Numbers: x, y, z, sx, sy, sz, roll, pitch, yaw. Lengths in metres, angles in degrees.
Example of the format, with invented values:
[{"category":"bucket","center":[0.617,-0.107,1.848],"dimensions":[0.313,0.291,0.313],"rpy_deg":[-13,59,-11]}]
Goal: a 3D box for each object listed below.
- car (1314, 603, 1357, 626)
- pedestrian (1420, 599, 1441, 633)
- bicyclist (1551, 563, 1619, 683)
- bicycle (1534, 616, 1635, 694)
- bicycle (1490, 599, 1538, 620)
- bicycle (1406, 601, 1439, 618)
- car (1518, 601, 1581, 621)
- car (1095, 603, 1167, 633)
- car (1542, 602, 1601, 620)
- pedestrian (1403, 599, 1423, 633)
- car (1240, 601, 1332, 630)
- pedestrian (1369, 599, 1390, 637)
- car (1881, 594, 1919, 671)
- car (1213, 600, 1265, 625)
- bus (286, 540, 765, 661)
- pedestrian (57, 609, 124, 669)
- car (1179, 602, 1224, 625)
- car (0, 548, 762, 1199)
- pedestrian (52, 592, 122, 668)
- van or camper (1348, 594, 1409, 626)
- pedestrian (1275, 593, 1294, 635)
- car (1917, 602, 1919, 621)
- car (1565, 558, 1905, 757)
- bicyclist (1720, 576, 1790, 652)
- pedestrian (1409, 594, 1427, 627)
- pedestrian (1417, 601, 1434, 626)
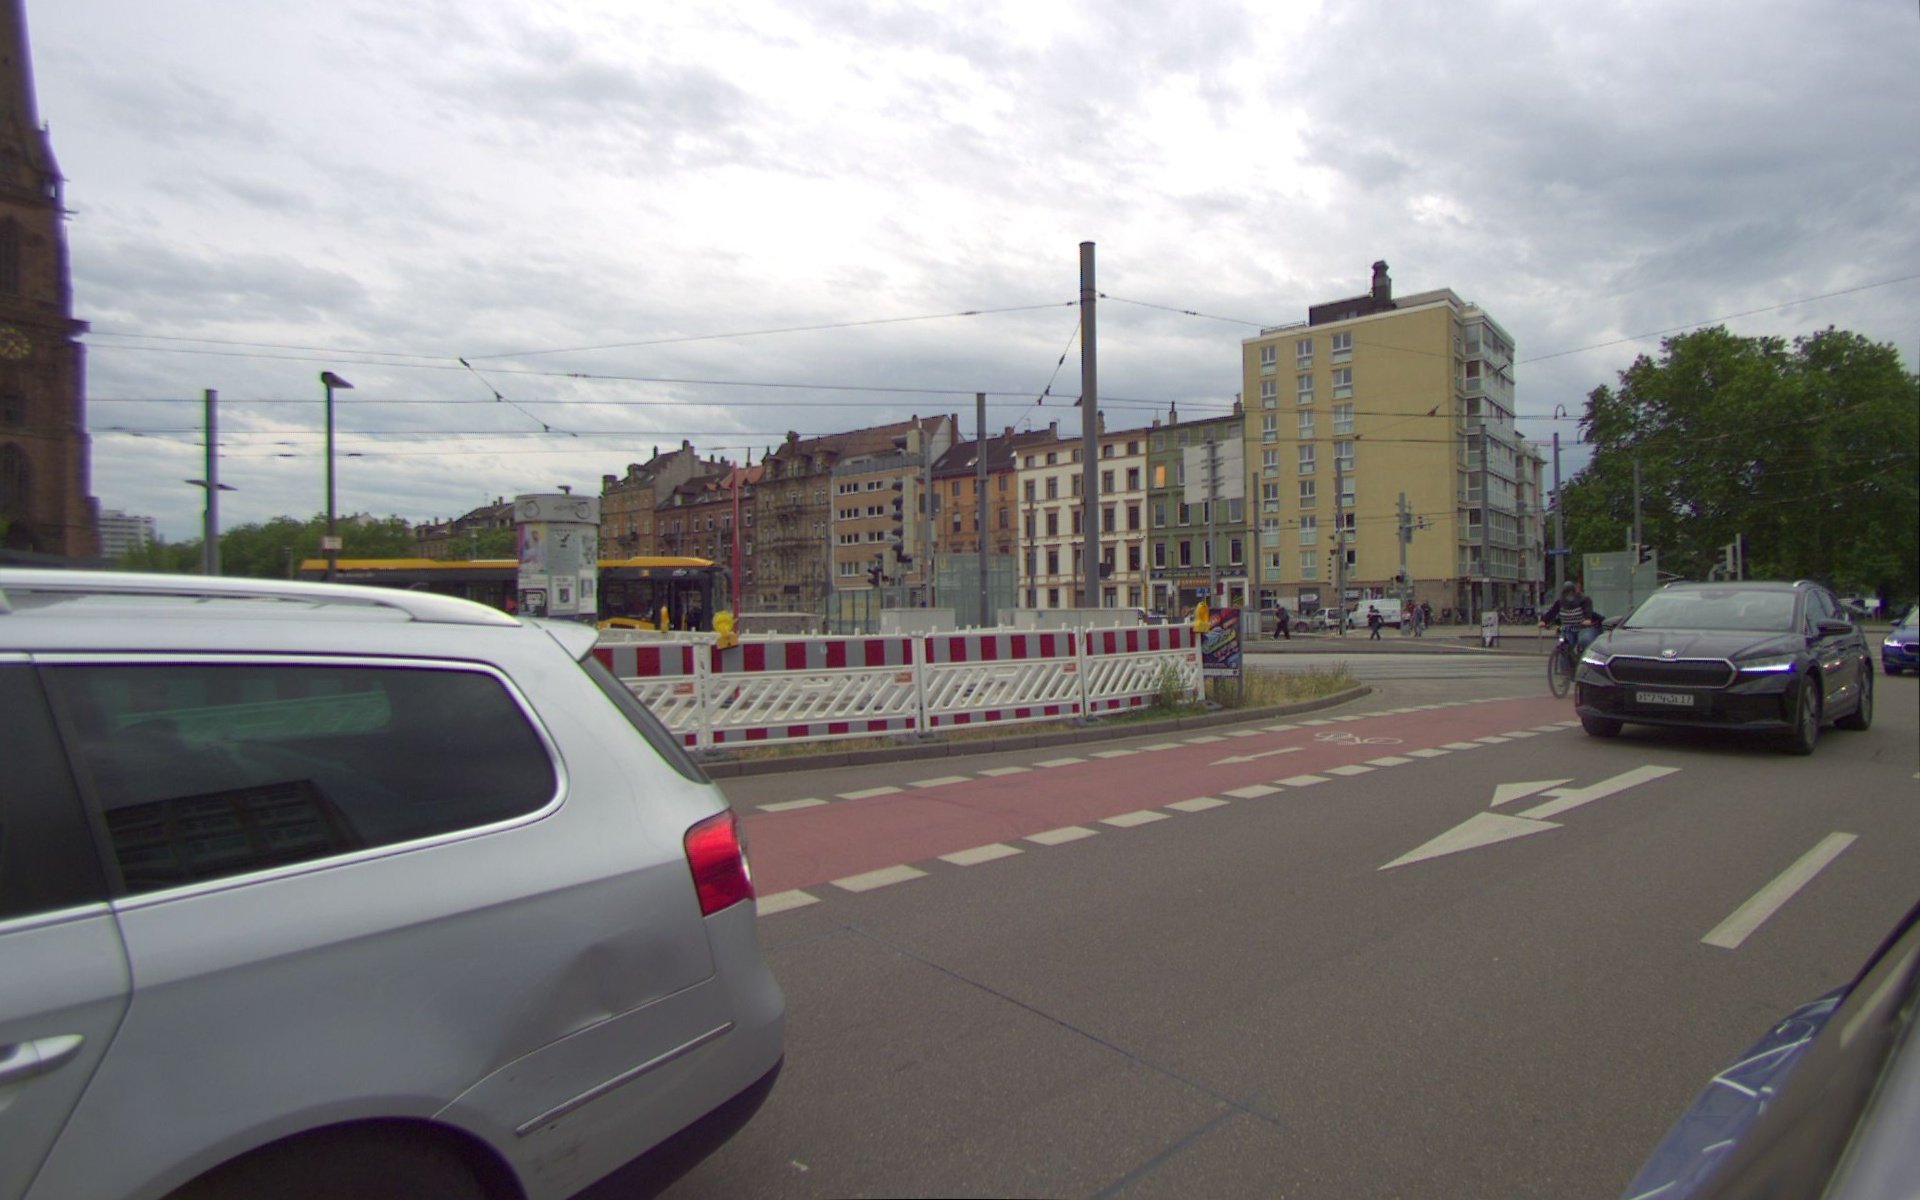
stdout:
[{"category":"car","center":[25.399,0.968,68.637],"dimensions":[1.705,1.435,3.734],"rpy_deg":[-1,0,4]},{"category":"pedestrian","center":[22.573,0.782,48.579],"dimensions":[0.774,1.622,0.892],"rpy_deg":[-1,-1,18]},{"category":"bicyclist","center":[9.293,0.335,15.041],"dimensions":[0.791,1.712,0.617],"rpy_deg":[1,-2,-38]},{"category":"bicycle","center":[9.300,0.781,15.042],"dimensions":[2.088,1.068,0.626],"rpy_deg":[0,-1,-39]},{"category":"bicycle","center":[37.674,0.647,68.852],"dimensions":[2.774,1.395,0.890],"rpy_deg":[-1,-1,43]},{"category":"bicycle","center":[33.014,0.655,72.264],"dimensions":[2.029,1.184,0.660],"rpy_deg":[0,-1,38]},{"category":"car","center":[44.357,0.840,76.170],"dimensions":[3.971,1.483,1.976],"rpy_deg":[-1,-1,34]},{"category":"car","center":[10.532,1.080,62.407],"dimensions":[3.986,1.772,1.969],"rpy_deg":[-1,-1,43]},{"category":"car","center":[48.116,0.842,79.701],"dimensions":[3.969,1.352,1.816],"rpy_deg":[0,0,32]},{"category":"pedestrian","center":[21.927,0.770,48.996],"dimensions":[0.758,1.632,0.946],"rpy_deg":[-1,-1,18]},{"category":"car","center":[18.007,0.835,56.054],"dimensions":[4.430,1.505,1.969],"rpy_deg":[-1,-1,44]},{"category":"pedestrian","center":[18.595,0.801,44.893],"dimensions":[0.774,1.664,0.899],"rpy_deg":[-1,-1,18]},{"category":"car","center":[20.060,0.601,19.977],"dimensions":[4.666,1.454,1.771],"rpy_deg":[0,-1,-35]},{"category":"car","center":[19.786,0.892,71.865],"dimensions":[1.853,1.602,3.745],"rpy_deg":[-4,0,-13]},{"category":"bus","center":[-12.421,-0.002,30.033],"dimensions":[12.783,3.310,3.028],"rpy_deg":[0,-1,-4]},{"category":"pedestrian","center":[-24.395,1.077,28.420],"dimensions":[1.001,1.666,1.008],"rpy_deg":[0,-1,-1]},{"category":"car","center":[17.437,0.974,73.224],"dimensions":[1.700,1.607,3.745],"rpy_deg":[0,0,-13]},{"category":"car","center":[-2.656,0.678,1.131],"dimensions":[4.548,1.501,1.723],"rpy_deg":[0,0,-41]},{"category":"pedestrian","center":[-21.365,0.728,24.777],"dimensions":[1.001,1.831,0.826],"rpy_deg":[0,-1,-1]},{"category":"van or camper","center":[27.503,0.663,66.672],"dimensions":[2.134,2.004,5.458],"rpy_deg":[-1,-1,5]},{"category":"pedestrian","center":[14.982,0.637,46.714],"dimensions":[0.774,1.936,0.899],"rpy_deg":[-1,-1,18]},{"category":"car","center":[86.819,0.841,89.572],"dimensions":[4.149,1.616,1.959],"rpy_deg":[-7,3,-30]},{"category":"car","center":[8.333,0.490,10.735],"dimensions":[4.434,1.679,1.907],"rpy_deg":[0,-1,-40]},{"category":"bicyclist","center":[17.487,0.316,22.262],"dimensions":[0.914,1.639,0.792],"rpy_deg":[0,-2,-22]},{"category":"pedestrian","center":[24.481,0.557,54.141],"dimensions":[0.778,1.779,1.043],"rpy_deg":[0,0,19]},{"category":"pedestrian","center":[32.494,0.951,70.646],"dimensions":[0.903,1.759,0.801],"rpy_deg":[0,-1,42]}]
